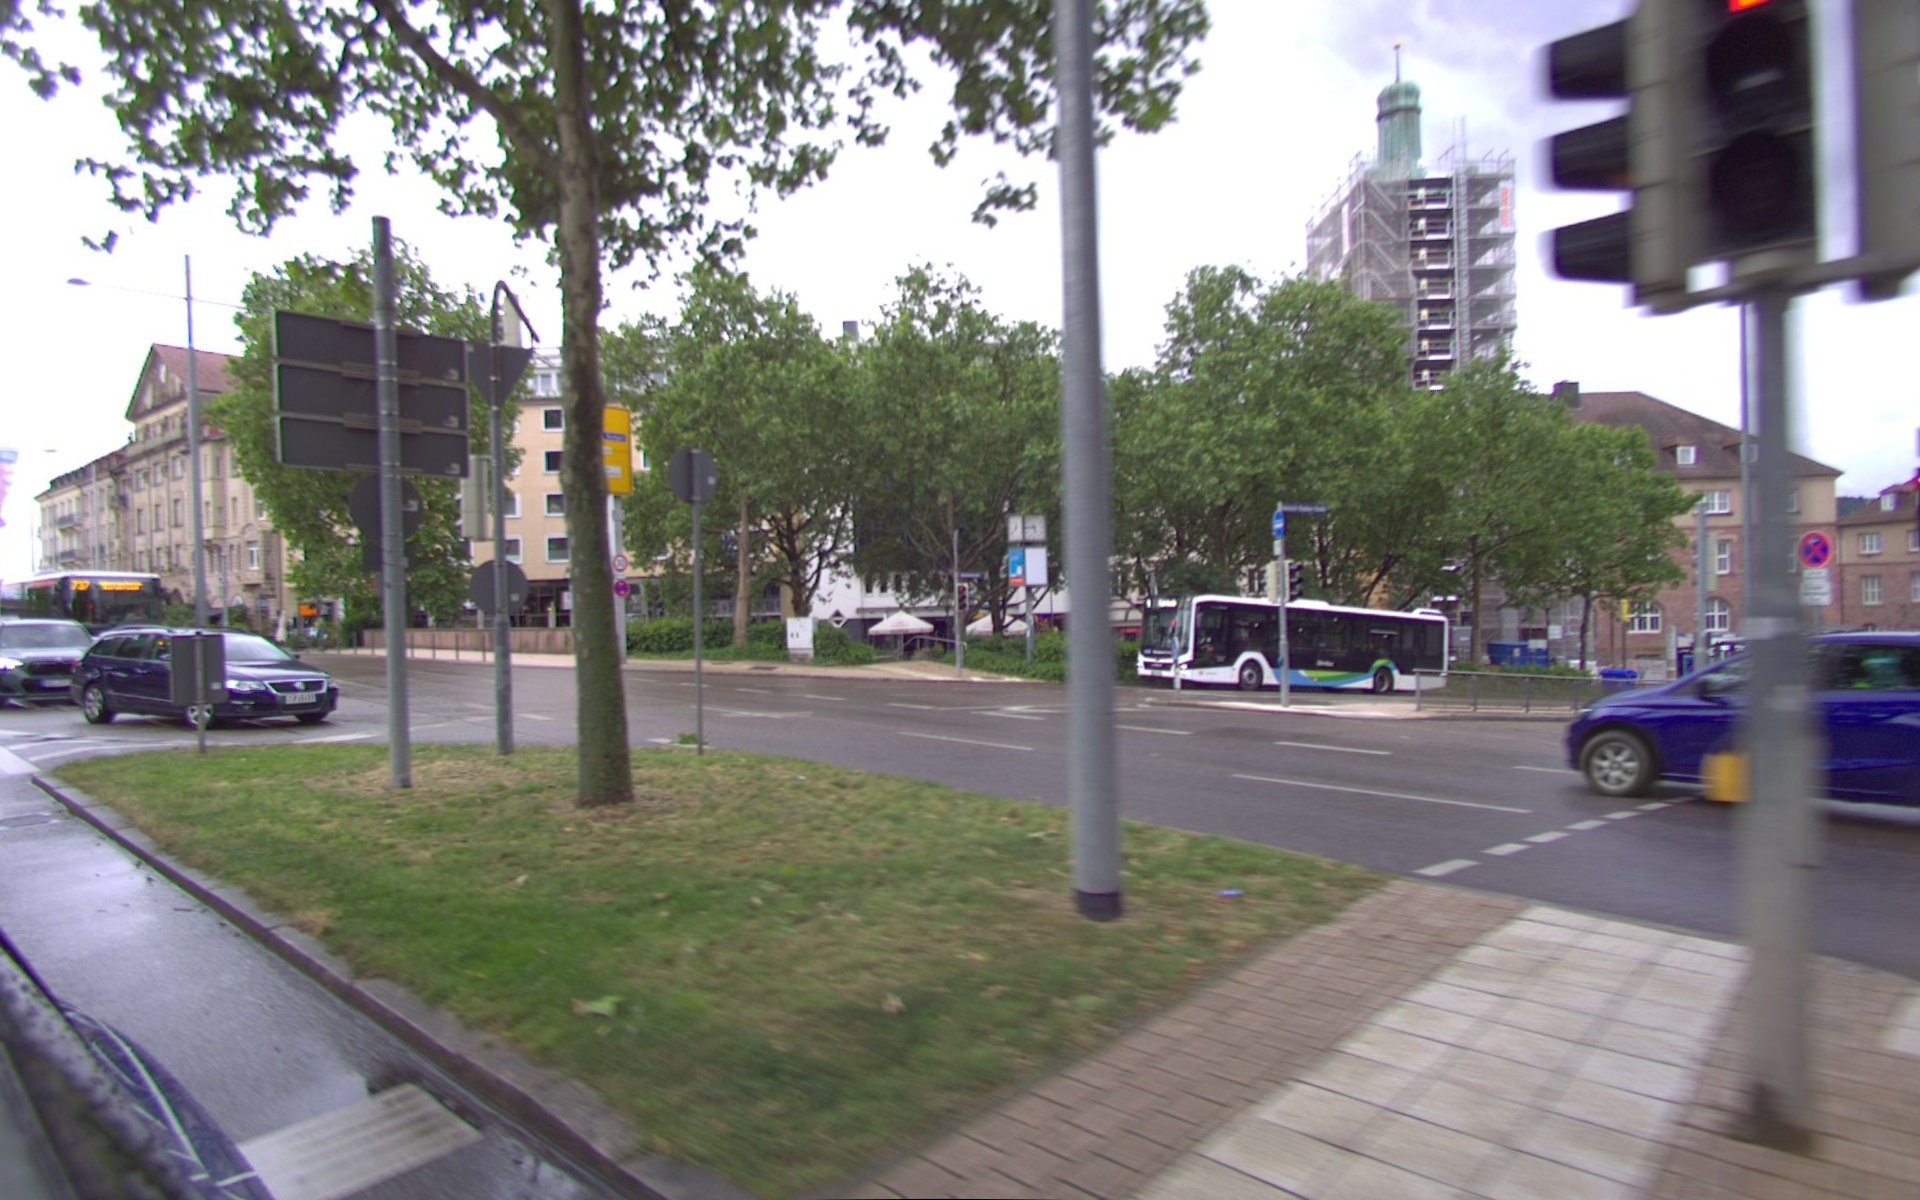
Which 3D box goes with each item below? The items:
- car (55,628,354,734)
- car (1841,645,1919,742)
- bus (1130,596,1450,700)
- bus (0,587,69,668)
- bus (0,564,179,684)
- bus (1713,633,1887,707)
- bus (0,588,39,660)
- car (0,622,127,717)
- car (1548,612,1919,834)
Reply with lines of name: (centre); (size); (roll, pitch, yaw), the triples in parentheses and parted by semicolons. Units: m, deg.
car: (-11.582, 1.156, 15.493); (4.388, 1.420, 1.806); (-1, -1, 25)
car: (21.870, 2.051, 22.477); (4.509, 1.980, 2.006); (2, -3, -29)
bus: (11.360, 1.735, 34.054); (11.766, 3.042, 2.898); (3, -3, -28)
bus: (-40.434, 1.172, 43.008); (8.839, 3.156, 2.723); (-1, -2, 41)
bus: (-30.031, 0.847, 34.331); (12.547, 3.466, 2.926); (-2, -2, 40)
bus: (42.453, 3.372, 50.948); (11.769, 3.219, 2.898); (0, -1, -31)
bus: (-47.431, 1.197, 49.062); (9.905, 3.270, 2.781); (-1, -2, 40)
car: (-18.054, 1.279, 19.765); (4.354, 1.652, 1.945); (-1, -2, 39)
car: (7.122, 0.873, 7.841); (1.815, 1.519, 4.116); (1, -2, -25)
